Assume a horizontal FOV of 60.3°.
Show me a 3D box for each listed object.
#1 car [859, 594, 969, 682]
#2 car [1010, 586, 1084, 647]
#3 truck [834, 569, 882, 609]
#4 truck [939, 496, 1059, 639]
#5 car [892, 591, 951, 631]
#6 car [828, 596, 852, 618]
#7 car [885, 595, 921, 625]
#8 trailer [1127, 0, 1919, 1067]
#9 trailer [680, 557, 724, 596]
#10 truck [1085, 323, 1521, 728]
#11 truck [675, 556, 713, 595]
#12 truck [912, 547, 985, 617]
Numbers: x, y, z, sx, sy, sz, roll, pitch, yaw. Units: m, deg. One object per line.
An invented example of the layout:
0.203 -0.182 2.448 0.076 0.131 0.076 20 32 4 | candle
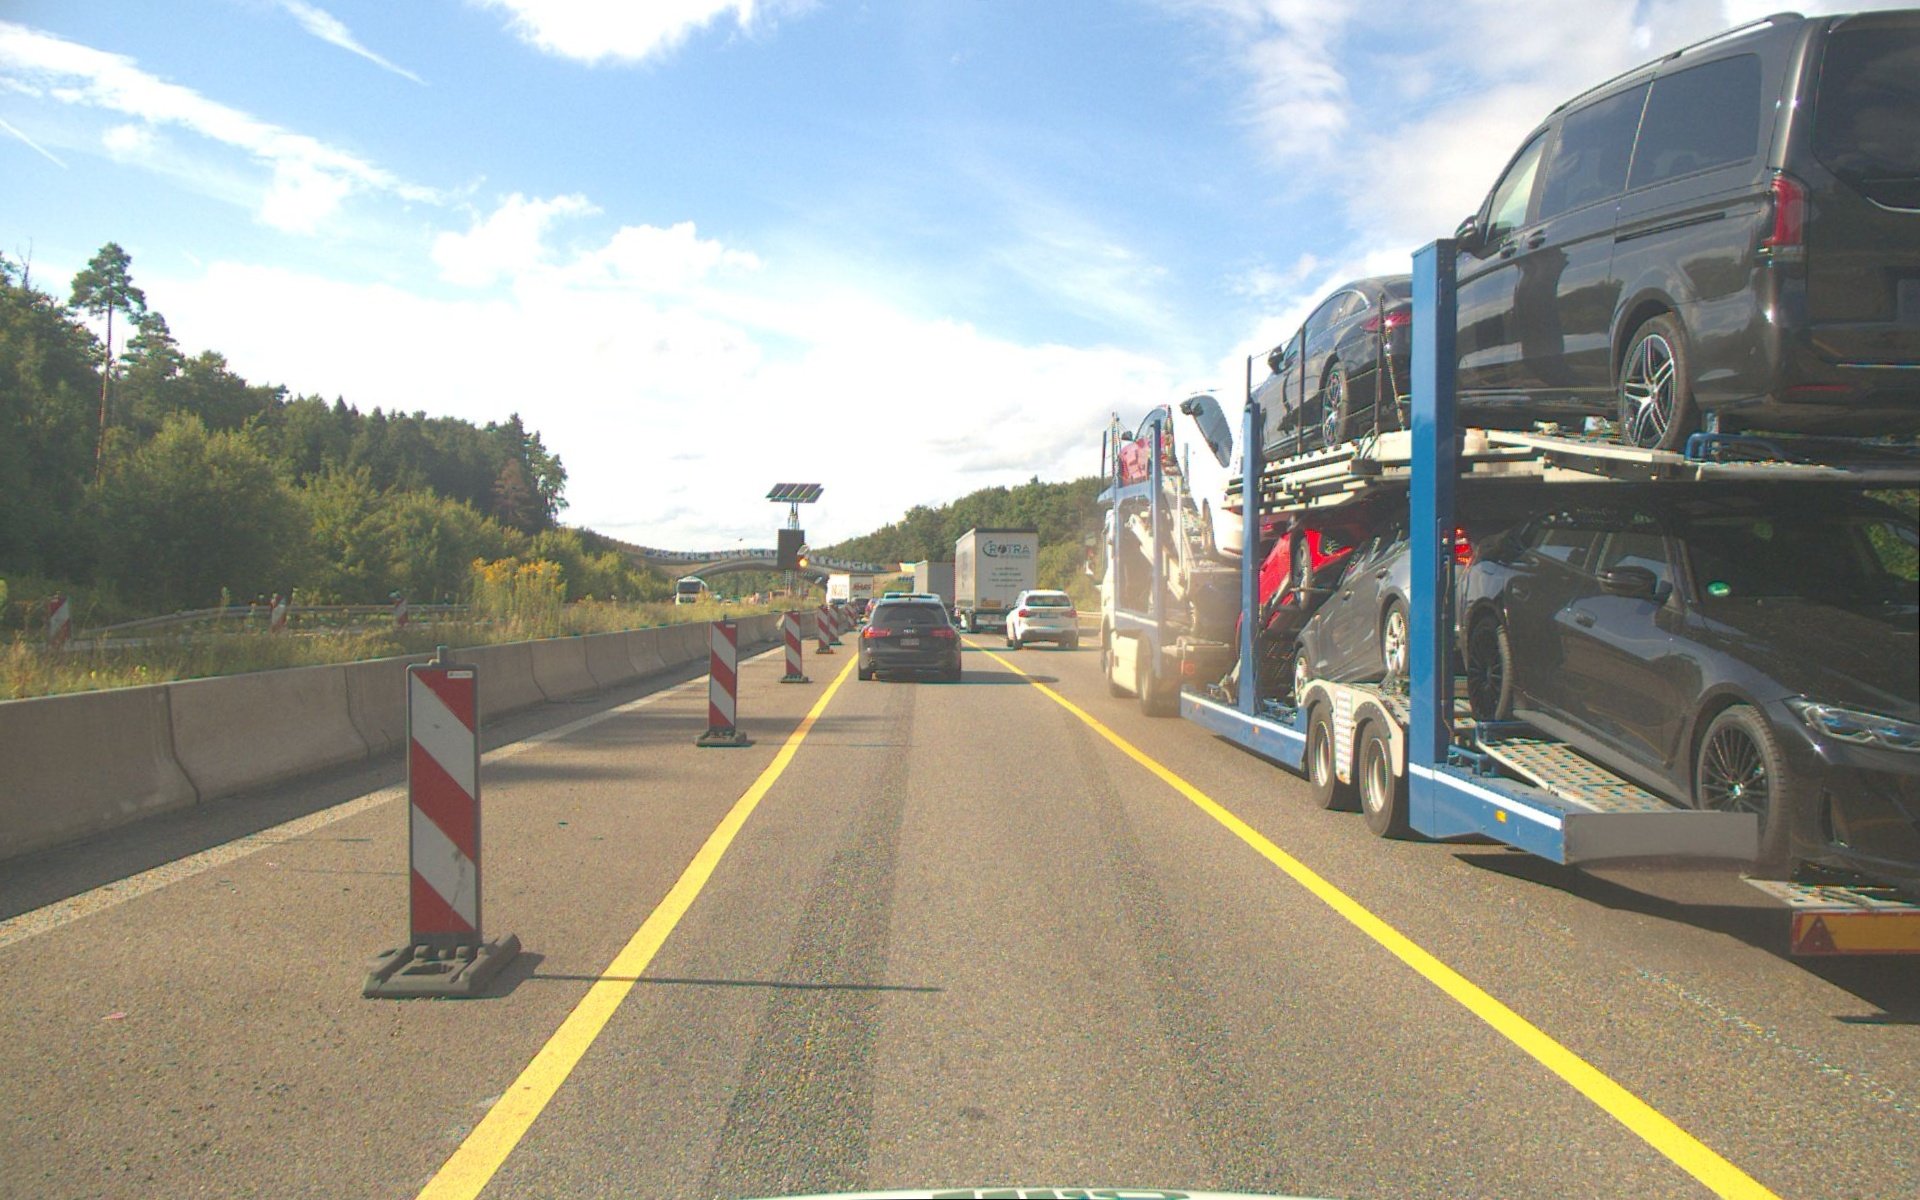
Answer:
-0.813 0.643 29.980 1.852 1.472 3.999 1 0 -1 | car
2.479 0.471 47.836 1.852 1.672 4.017 1 0 -1 | car
-10.746 -1.083 173.438 3.589 3.997 11.037 1 0 -11 | truck
1.395 -1.225 71.624 3.605 5.447 16.186 1 0 -4 | truck
-1.518 0.426 63.841 1.854 1.472 3.994 1 0 -7 | car
-11.441 0.682 157.878 1.956 2.049 3.992 1 0 -9 | car
-3.294 0.566 95.092 1.853 1.672 4.013 1 0 -5 | car
4.382 -0.667 13.217 3.652 4.270 16.217 1 0 -3 | trailer
-24.925 -2.231 160.340 2.745 3.551 11.109 1 0 -1 | trailer
3.974 -0.768 21.610 3.686 4.270 7.946 1 0 -3 | truck
-24.754 -2.271 154.163 2.728 3.551 4.938 1 0 -1 | truck
-0.946 -1.194 117.039 4.235 4.681 11.112 1 0 -5 | truck
